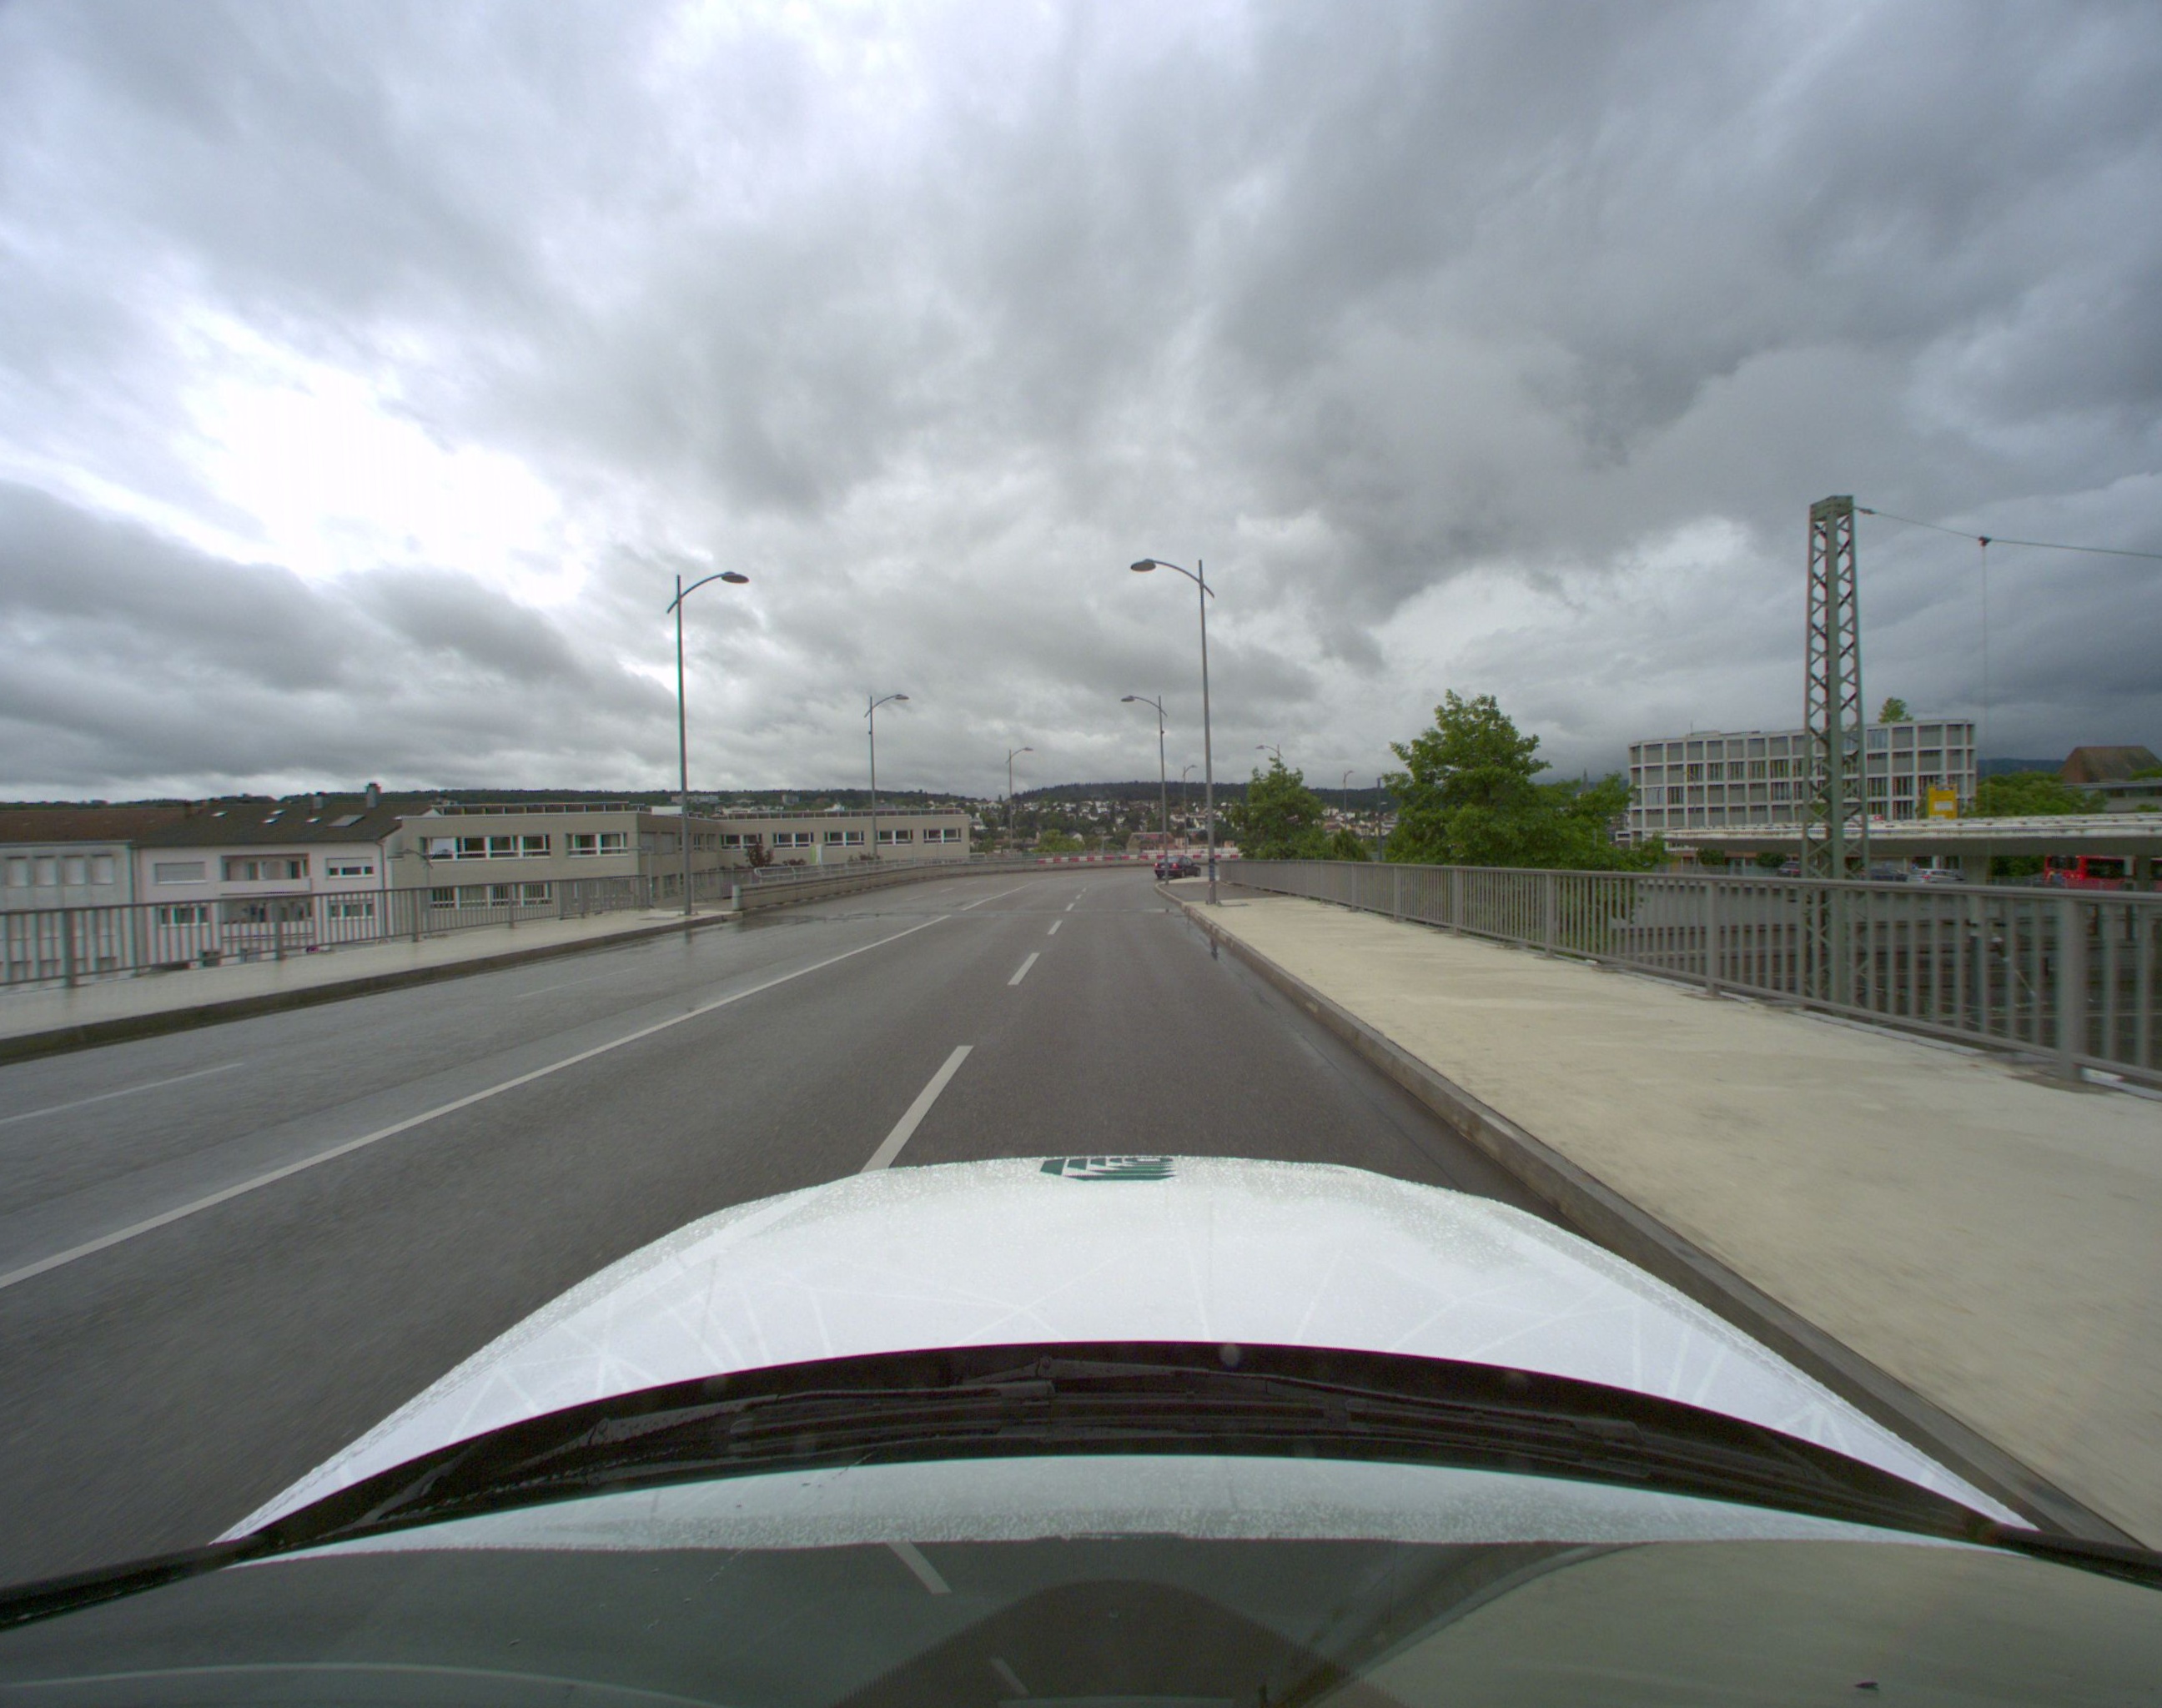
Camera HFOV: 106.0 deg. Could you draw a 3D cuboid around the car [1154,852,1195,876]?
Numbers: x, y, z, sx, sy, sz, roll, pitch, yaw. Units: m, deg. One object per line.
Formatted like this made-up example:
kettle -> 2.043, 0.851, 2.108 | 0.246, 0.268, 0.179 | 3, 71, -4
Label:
car -> 5.890, 0.618, 51.056 | 1.691, 1.419, 3.745 | 0, 0, 21
